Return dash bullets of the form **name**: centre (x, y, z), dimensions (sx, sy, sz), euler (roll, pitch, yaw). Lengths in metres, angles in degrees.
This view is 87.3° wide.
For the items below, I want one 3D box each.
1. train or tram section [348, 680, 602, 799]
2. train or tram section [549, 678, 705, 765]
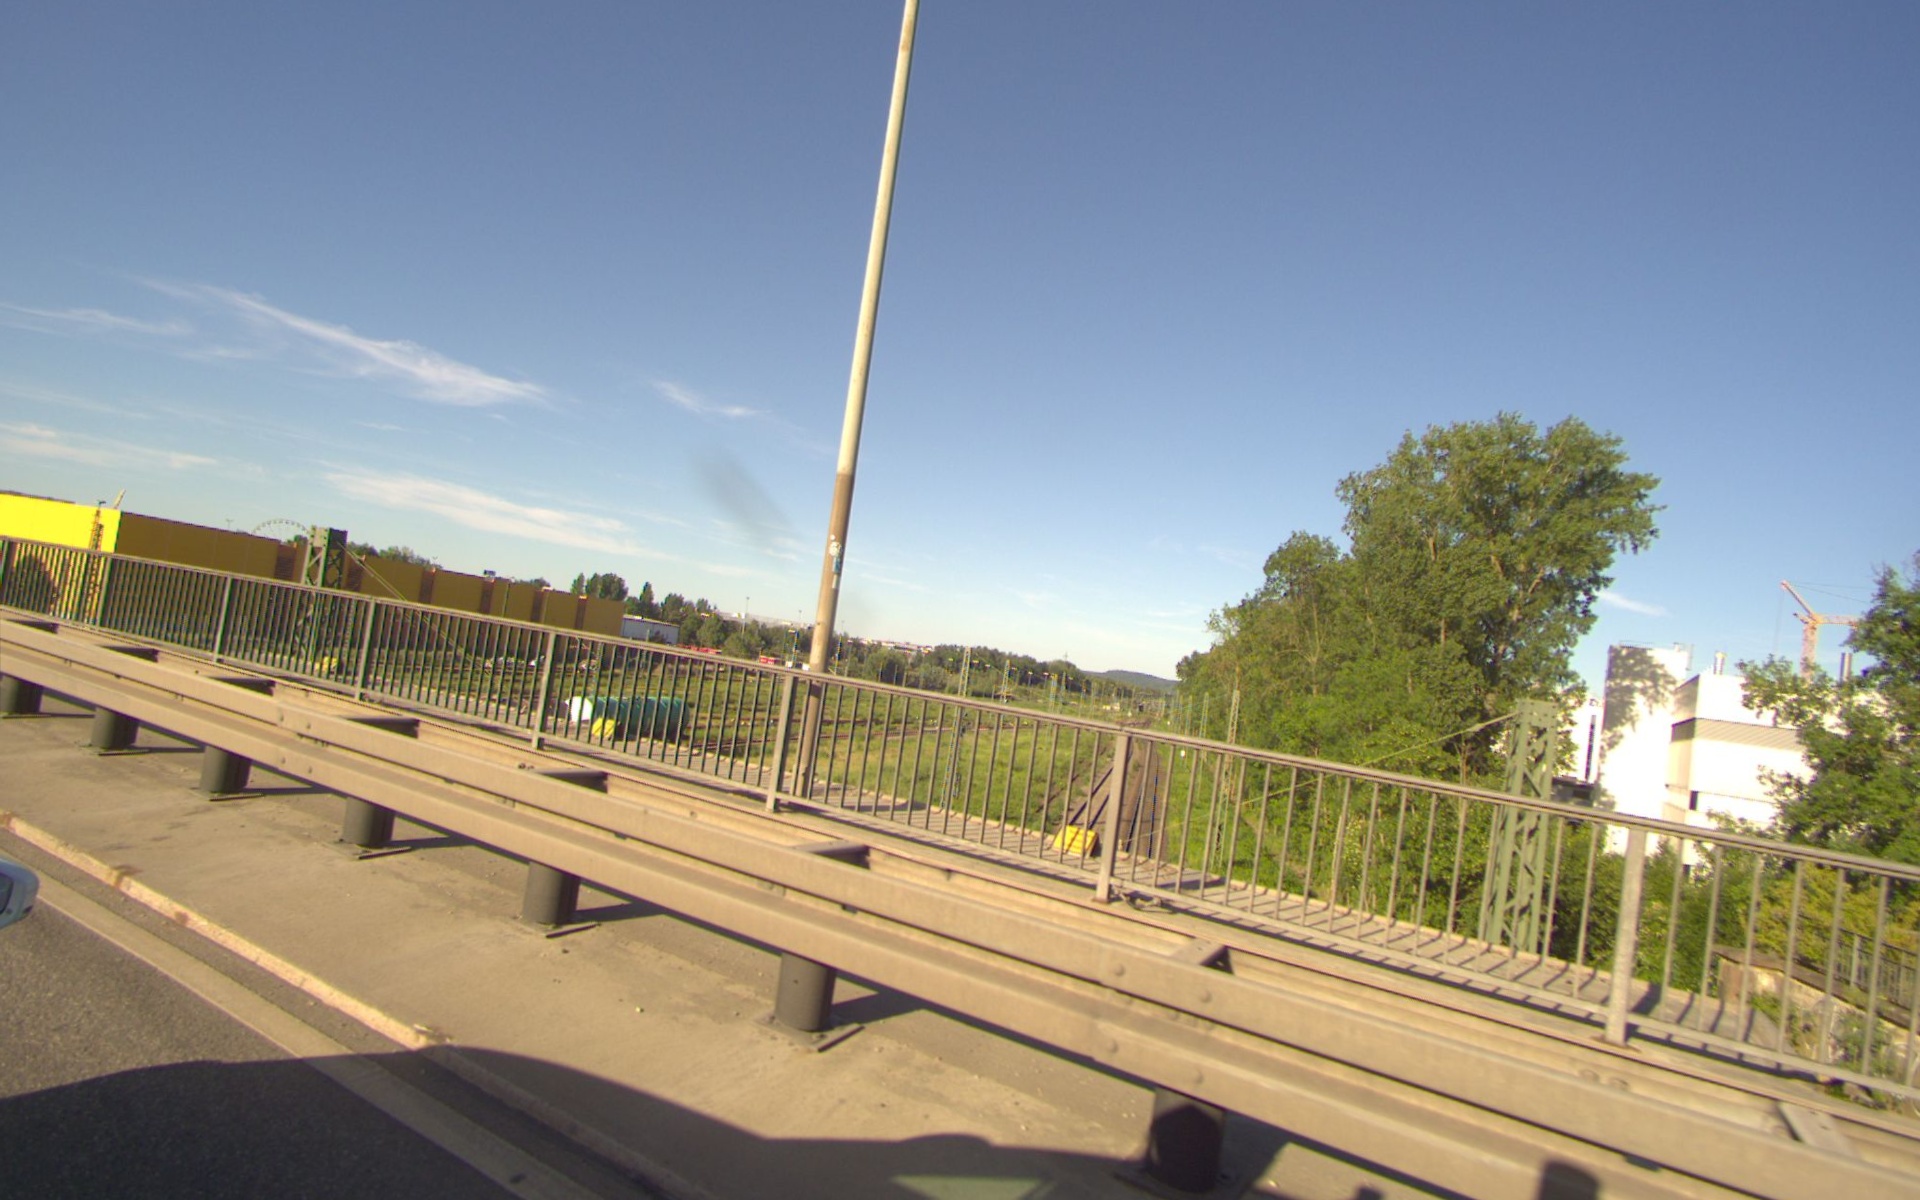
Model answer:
- **train or tram section**: centre (-27.456, 7.652, 59.039), dimensions (3.273, 5.321, 16.904), euler (7, -2, 12)
- **train or tram section**: centre (-24.176, 8.680, 74.745), dimensions (3.273, 5.242, 15.200), euler (7, -2, 12)
